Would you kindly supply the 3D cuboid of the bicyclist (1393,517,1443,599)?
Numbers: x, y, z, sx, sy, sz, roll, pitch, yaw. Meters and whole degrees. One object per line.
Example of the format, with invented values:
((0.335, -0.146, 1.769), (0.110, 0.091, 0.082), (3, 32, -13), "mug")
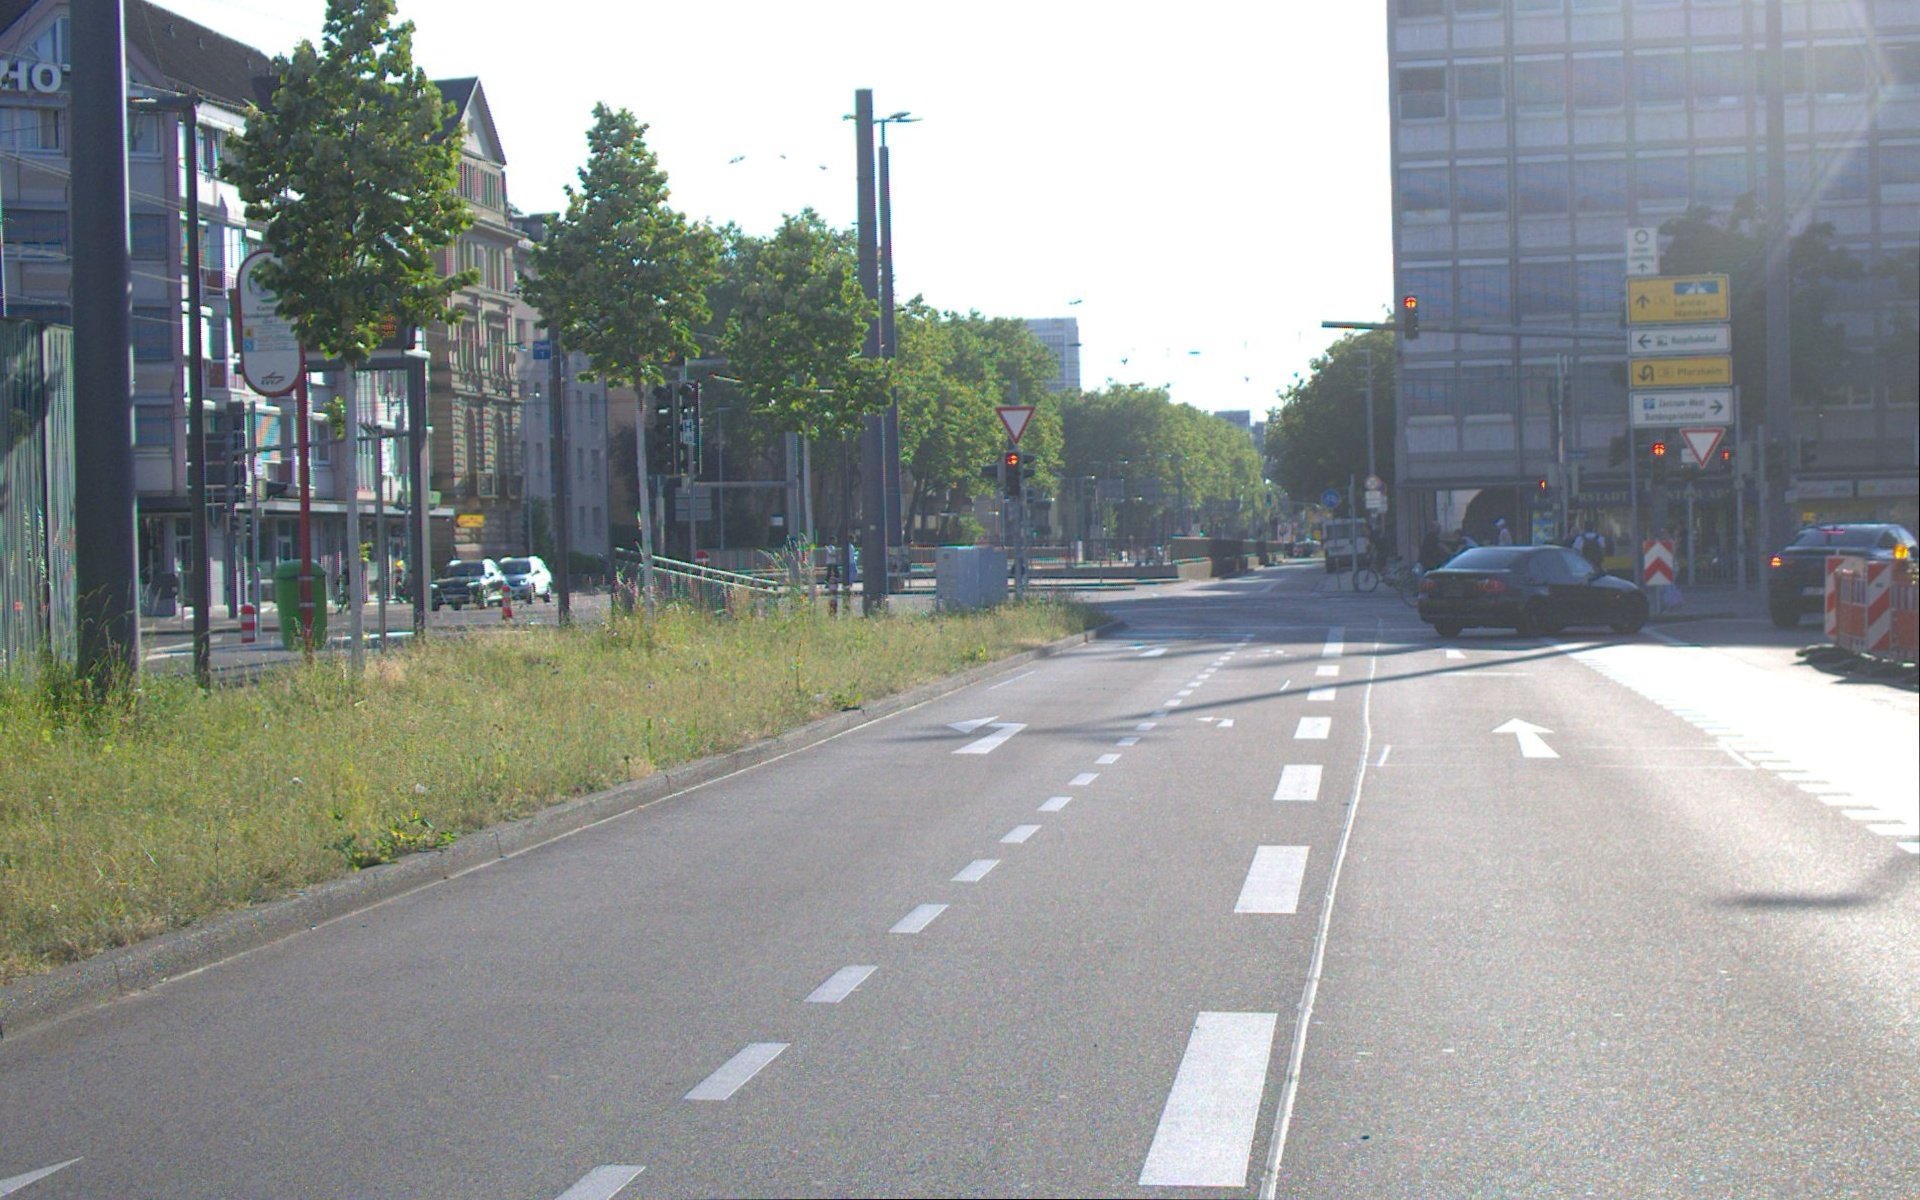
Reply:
((9.396, -0.861, 70.539), (0.959, 1.656, 0.691), (-1, 1, 10), "bicyclist")

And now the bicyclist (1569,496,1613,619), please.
((10.589, -0.723, 57.740), (0.644, 2.006, 1.067), (1, 3, 7), "bicyclist")

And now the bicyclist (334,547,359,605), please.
((-19.948, -0.785, 111.794), (0.593, 1.855, 0.642), (-2, 1, 8), "bicyclist")

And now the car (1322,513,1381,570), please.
((17.682, -2.626, 155.346), (2.486, 2.384, 5.933), (-3, 0, 6), "car")

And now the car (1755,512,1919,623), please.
((14.655, -0.574, 57.070), (1.996, 1.687, 3.995), (1, 3, 26), "car")

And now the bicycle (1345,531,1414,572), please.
((11.456, -1.332, 93.862), (1.775, 1.068, 0.535), (-2, 1, -3), "bicycle")

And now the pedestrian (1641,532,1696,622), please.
((12.849, -0.422, 62.342), (0.878, 1.592, 0.655), (-2, 1, 7), "pedestrian")

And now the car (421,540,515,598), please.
((-16.583, -1.063, 116.105), (1.994, 1.853, 3.999), (-2, 1, 9), "car")

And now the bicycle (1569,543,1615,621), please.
((10.582, -0.313, 57.611), (0.645, 1.219, 2.048), (1, 3, 7), "bicycle")

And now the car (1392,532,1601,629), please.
((8.325, -0.319, 53.122), (1.747, 1.421, 3.993), (0, 1, 32), "car")

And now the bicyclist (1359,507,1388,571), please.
((11.297, -1.660, 93.849), (0.663, 1.706, 0.538), (-2, 1, -3), "bicyclist")

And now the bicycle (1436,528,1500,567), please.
((14.537, -1.513, 98.372), (1.732, 1.056, 0.539), (-2, 1, -3), "bicycle")

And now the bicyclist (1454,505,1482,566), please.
((14.537, -1.846, 98.368), (0.663, 1.706, 0.538), (-2, 1, -3), "bicyclist")

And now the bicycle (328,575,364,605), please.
((-19.967, -0.326, 111.802), (0.598, 0.912, 1.835), (-2, 1, 8), "bicycle")

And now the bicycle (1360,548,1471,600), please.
((9.345, -0.541, 70.547), (2.227, 1.023, 0.682), (-1, 1, 10), "bicycle")

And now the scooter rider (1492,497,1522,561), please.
((14.799, -1.918, 93.052), (0.663, 1.706, 0.526), (-2, 1, -3), "scooter rider")
